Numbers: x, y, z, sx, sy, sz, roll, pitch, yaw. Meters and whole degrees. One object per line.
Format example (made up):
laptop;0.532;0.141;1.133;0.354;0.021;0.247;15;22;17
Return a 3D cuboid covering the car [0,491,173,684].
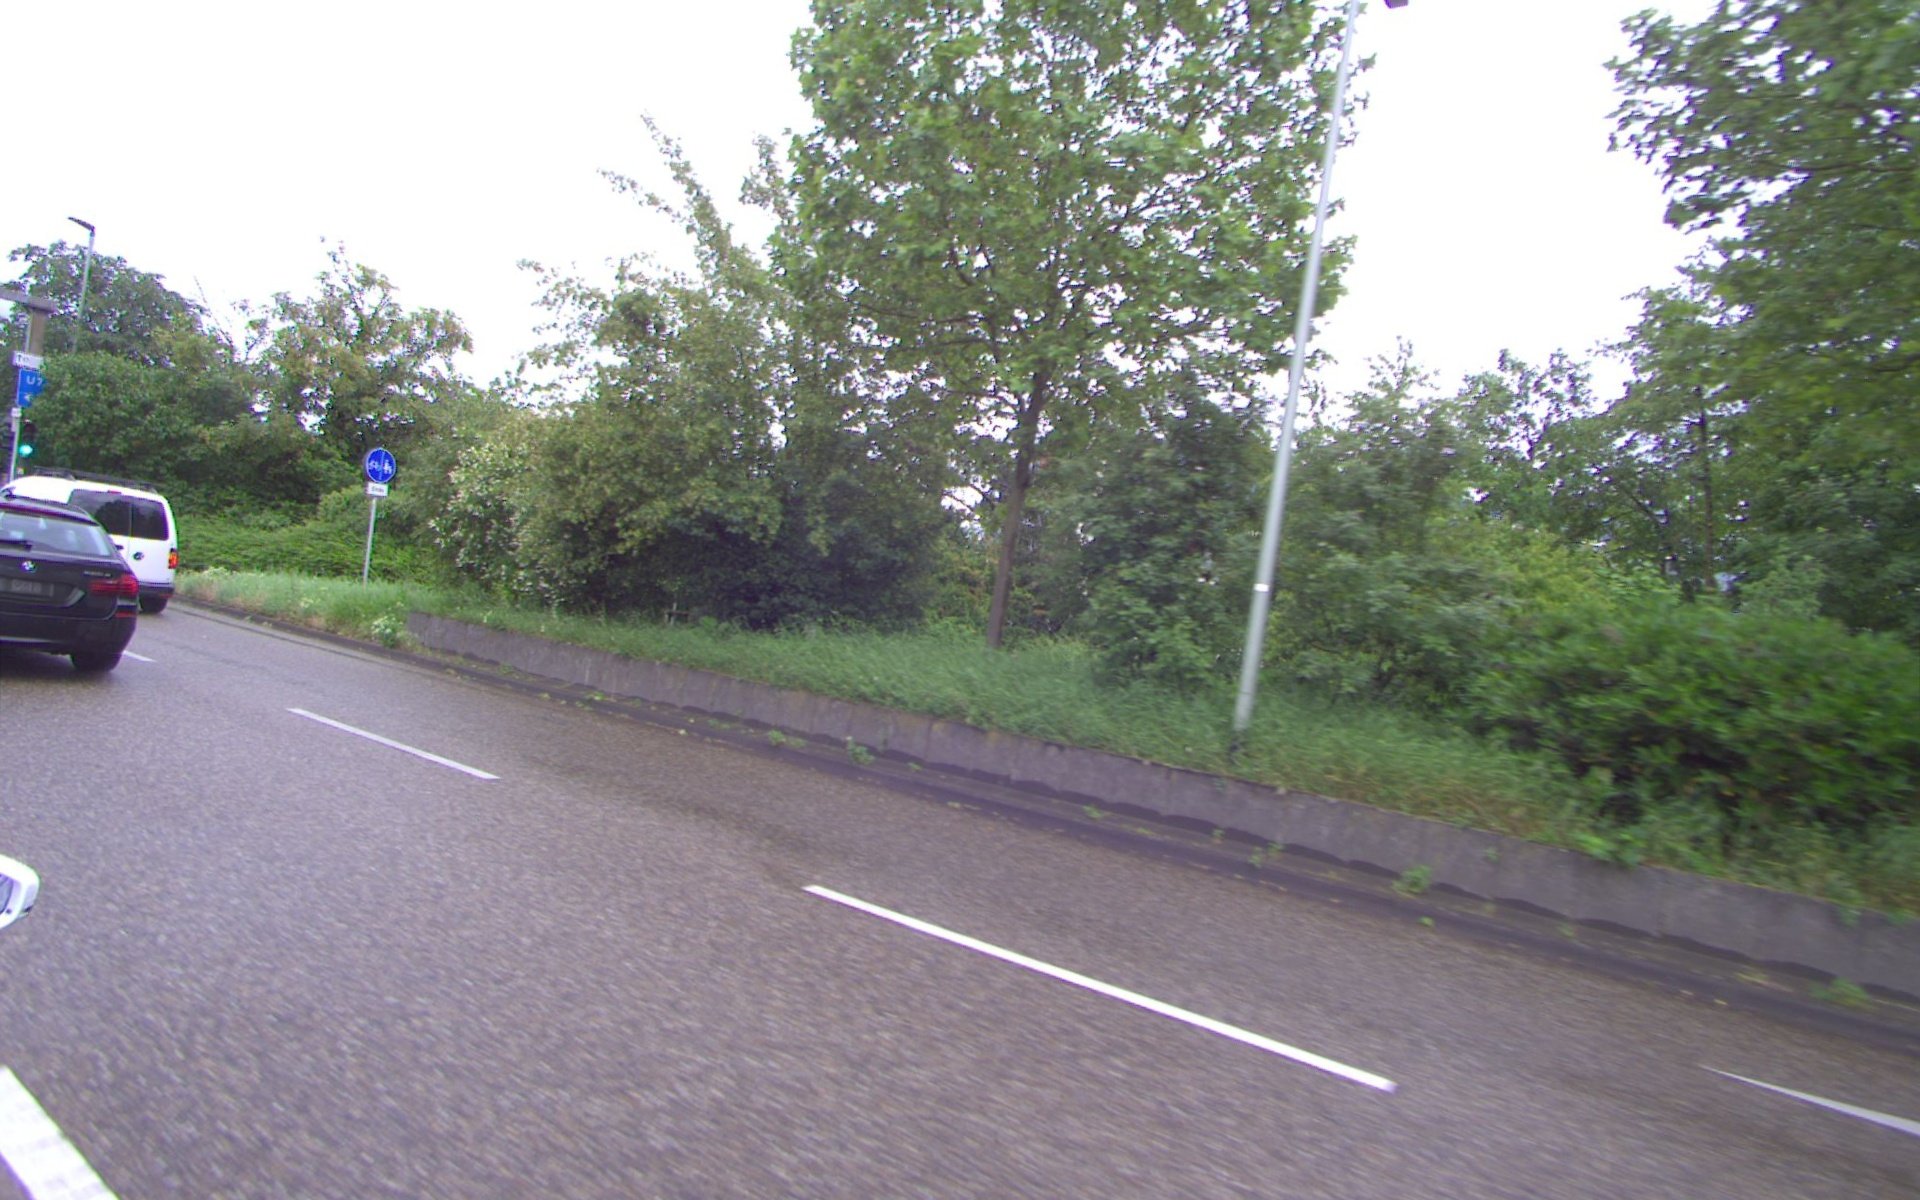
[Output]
car;-8.924;-0.279;8.842;3.935;1.459;1.901;7;-1;33

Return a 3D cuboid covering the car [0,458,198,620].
car;-13.454;-0.990;15.199;3.743;1.900;1.767;10;0;33
